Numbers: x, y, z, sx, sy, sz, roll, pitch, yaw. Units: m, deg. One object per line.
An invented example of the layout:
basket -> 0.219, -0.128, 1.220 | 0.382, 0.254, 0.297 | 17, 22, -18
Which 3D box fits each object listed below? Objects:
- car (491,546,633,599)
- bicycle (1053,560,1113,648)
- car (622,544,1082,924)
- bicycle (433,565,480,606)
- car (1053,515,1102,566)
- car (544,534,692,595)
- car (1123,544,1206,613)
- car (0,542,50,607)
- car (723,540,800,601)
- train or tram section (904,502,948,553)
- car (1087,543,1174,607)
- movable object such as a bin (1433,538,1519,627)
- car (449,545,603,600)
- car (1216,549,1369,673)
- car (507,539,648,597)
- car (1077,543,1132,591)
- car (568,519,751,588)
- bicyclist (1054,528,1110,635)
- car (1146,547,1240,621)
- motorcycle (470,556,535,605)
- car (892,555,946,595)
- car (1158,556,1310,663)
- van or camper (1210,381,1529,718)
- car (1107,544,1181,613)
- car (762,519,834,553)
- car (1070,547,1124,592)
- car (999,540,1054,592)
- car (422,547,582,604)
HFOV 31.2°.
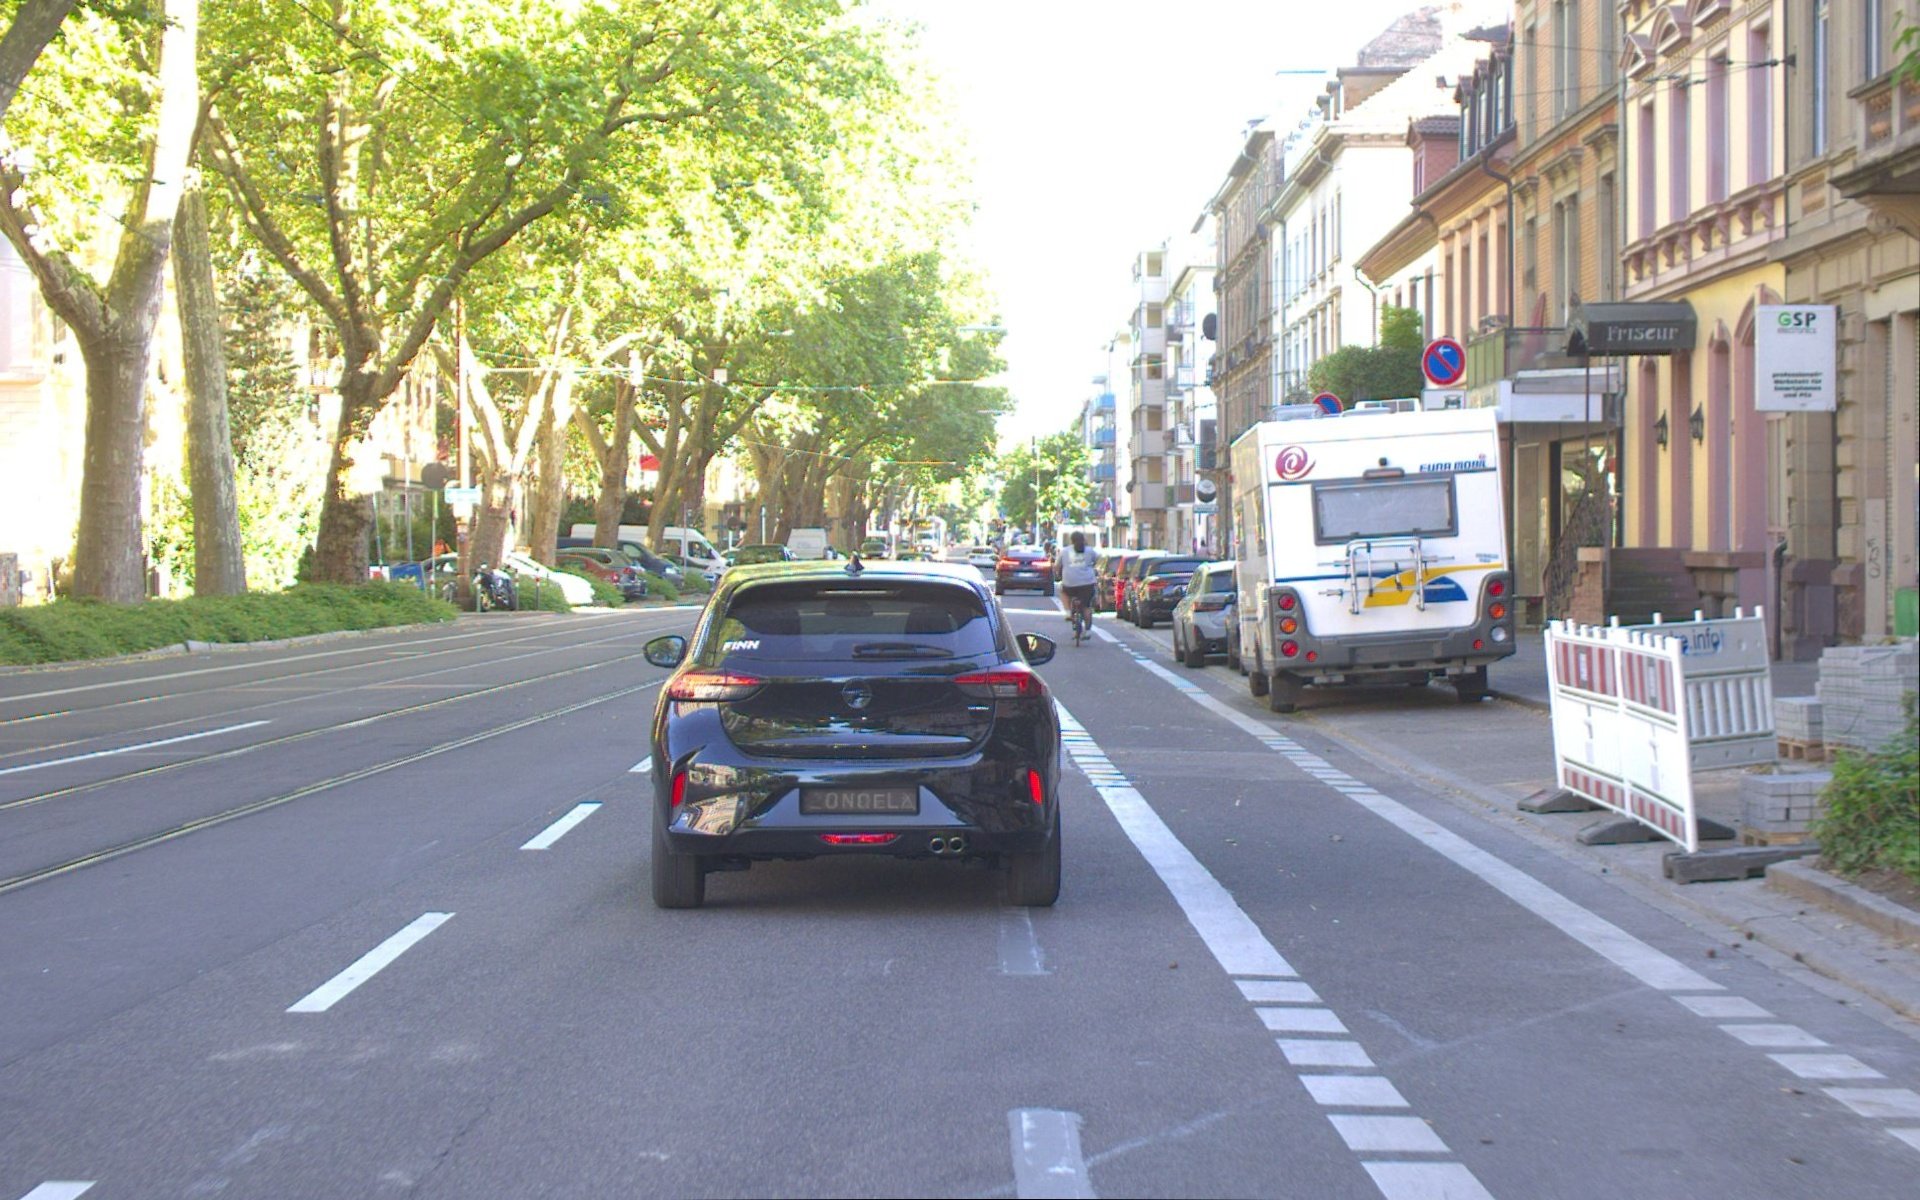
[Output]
car -> -11.751, -0.814, 101.597 | 3.920, 1.437, 1.749 | 2, 1, 1
bicycle -> 1.998, 0.051, 56.217 | 0.860, 1.402, 2.524 | 1, 1, 0
car -> -0.407, 0.499, 15.273 | 1.794, 1.436, 3.531 | 1, 2, 1
bicycle -> -11.970, -0.342, 81.753 | 0.541, 0.937, 2.033 | 1, 1, 9
car -> 5.415, -2.719, 158.129 | 2.075, 2.211, 4.933 | -3, 1, 2
car -> -11.490, -1.190, 115.626 | 4.675, 1.917, 1.980 | 2, 1, 2
car -> 4.474, -0.483, 75.572 | 1.651, 1.451, 3.868 | -1, 1, 1
car -> -23.237, -0.586, 79.699 | 3.776, 1.413, 1.694 | 0, 4, 2
car -> -5.576, -0.855, 97.150 | 1.866, 1.624, 4.560 | 0, 2, 1
train or tram section -> -2.528, -5.366, 257.457 | 2.735, 3.669, 12.716 | 0, 1, 2
car -> 4.518, -0.672, 91.443 | 1.880, 1.580, 3.933 | -3, 1, -2
movable object such as a bin -> 8.947, -0.311, 59.655 | 1.293, 1.515, 1.286 | 1, 1, 1
car -> -11.716, -0.748, 92.962 | 3.920, 1.457, 1.805 | 0, 1, 2
car -> 4.210, 0.111, 44.012 | 1.645, 1.429, 4.029 | -3, 1, 2
car -> -11.526, -0.966, 103.758 | 3.995, 1.621, 1.879 | 2, 1, 1
car -> 4.834, -1.102, 115.497 | 1.567, 1.512, 3.041 | -3, 1, -1
car -> -11.399, -1.756, 130.684 | 6.628, 2.401, 2.458 | 2, 1, 1
bicyclist -> 1.993, -0.309, 56.257 | 0.848, 1.734, 1.162 | 1, 1, 0
car -> 4.587, -0.331, 68.183 | 1.694, 1.388, 4.494 | -1, 1, 2
motorcycle -> -10.871, -0.472, 81.713 | 0.884, 1.143, 2.390 | 1, 1, 9
car -> -1.392, -0.870, 117.238 | 1.810, 1.334, 3.933 | 0, 1, 0
car -> 3.863, 0.101, 49.159 | 1.809, 1.430, 4.665 | -1, 1, 0
van or camper -> 4.047, -0.516, 35.537 | 2.477, 2.962, 7.883 | -3, 1, 2
car -> 4.269, -0.513, 80.226 | 1.634, 1.541, 3.576 | -1, 1, 2
car -> -9.062, -3.588, 192.113 | 3.919, 1.784, 1.677 | 2, 0, -2
car -> 4.825, -1.090, 120.553 | 1.705, 1.451, 3.697 | -3, 1, 4
car -> 2.277, -1.164, 117.595 | 1.810, 1.736, 3.933 | 0, 1, 2
car -> -11.980, -0.638, 90.124 | 3.921, 1.448, 1.800 | 0, 1, 1
